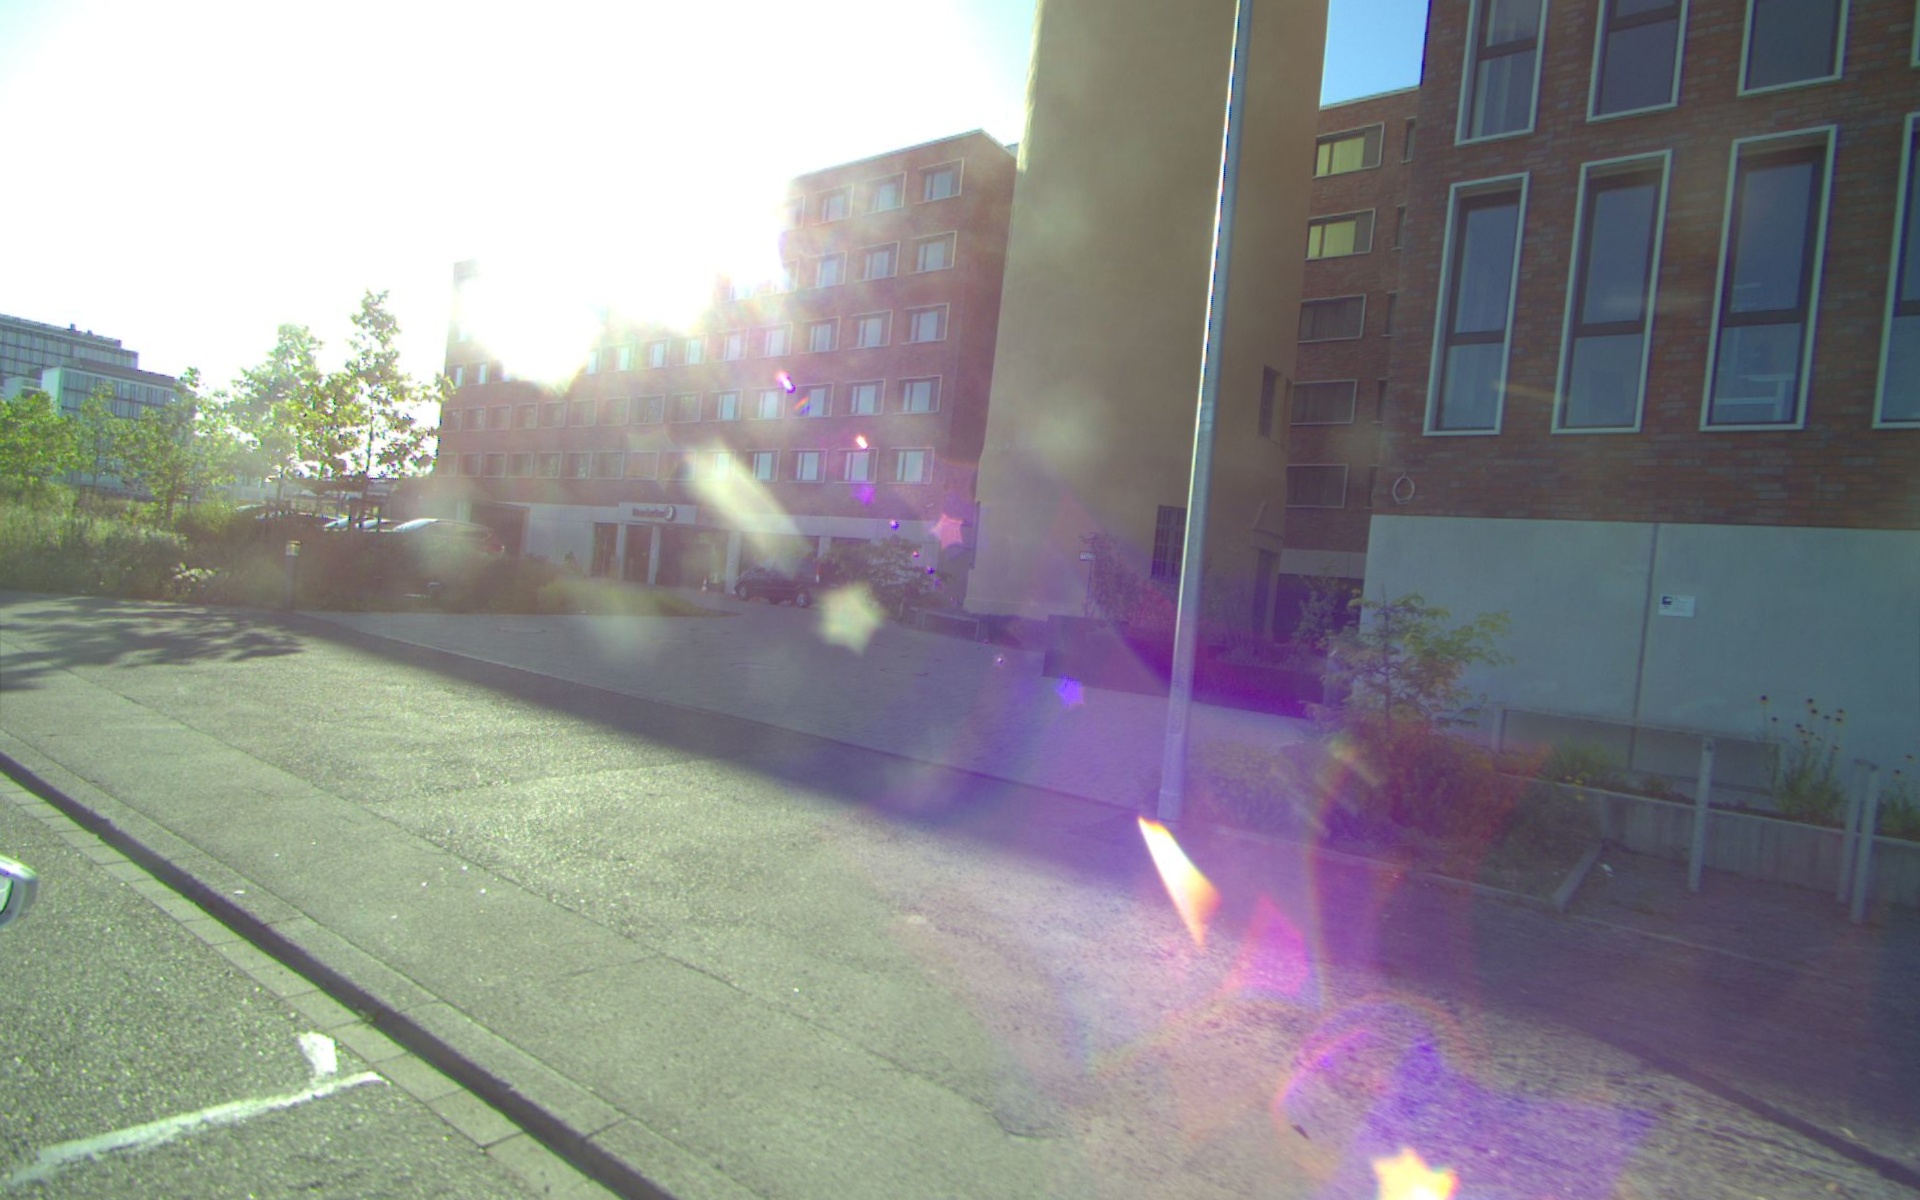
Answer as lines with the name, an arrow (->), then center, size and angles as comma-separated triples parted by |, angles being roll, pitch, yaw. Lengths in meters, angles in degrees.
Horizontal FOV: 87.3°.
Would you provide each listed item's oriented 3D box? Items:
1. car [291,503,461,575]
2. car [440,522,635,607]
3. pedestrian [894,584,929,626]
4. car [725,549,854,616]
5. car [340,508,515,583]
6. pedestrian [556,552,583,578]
car -> -18.416, -1.890, 31.883 | 1.824, 1.599, 4.184 | 7, -1, 38
car -> -10.862, -0.874, 26.112 | 1.824, 1.599, 4.184 | 7, -1, 38
pedestrian -> -1.447, 0.157, 29.962 | 0.746, 1.151, 0.813 | 5, 1, -20
car -> -6.561, -0.686, 38.552 | 4.718, 1.959, 1.972 | 7, 0, 36
car -> -15.998, -1.597, 30.401 | 1.824, 1.599, 4.184 | 7, -1, 38
pedestrian -> -22.313, -2.013, 57.447 | 0.994, 1.326, 0.929 | 7, 0, 35
